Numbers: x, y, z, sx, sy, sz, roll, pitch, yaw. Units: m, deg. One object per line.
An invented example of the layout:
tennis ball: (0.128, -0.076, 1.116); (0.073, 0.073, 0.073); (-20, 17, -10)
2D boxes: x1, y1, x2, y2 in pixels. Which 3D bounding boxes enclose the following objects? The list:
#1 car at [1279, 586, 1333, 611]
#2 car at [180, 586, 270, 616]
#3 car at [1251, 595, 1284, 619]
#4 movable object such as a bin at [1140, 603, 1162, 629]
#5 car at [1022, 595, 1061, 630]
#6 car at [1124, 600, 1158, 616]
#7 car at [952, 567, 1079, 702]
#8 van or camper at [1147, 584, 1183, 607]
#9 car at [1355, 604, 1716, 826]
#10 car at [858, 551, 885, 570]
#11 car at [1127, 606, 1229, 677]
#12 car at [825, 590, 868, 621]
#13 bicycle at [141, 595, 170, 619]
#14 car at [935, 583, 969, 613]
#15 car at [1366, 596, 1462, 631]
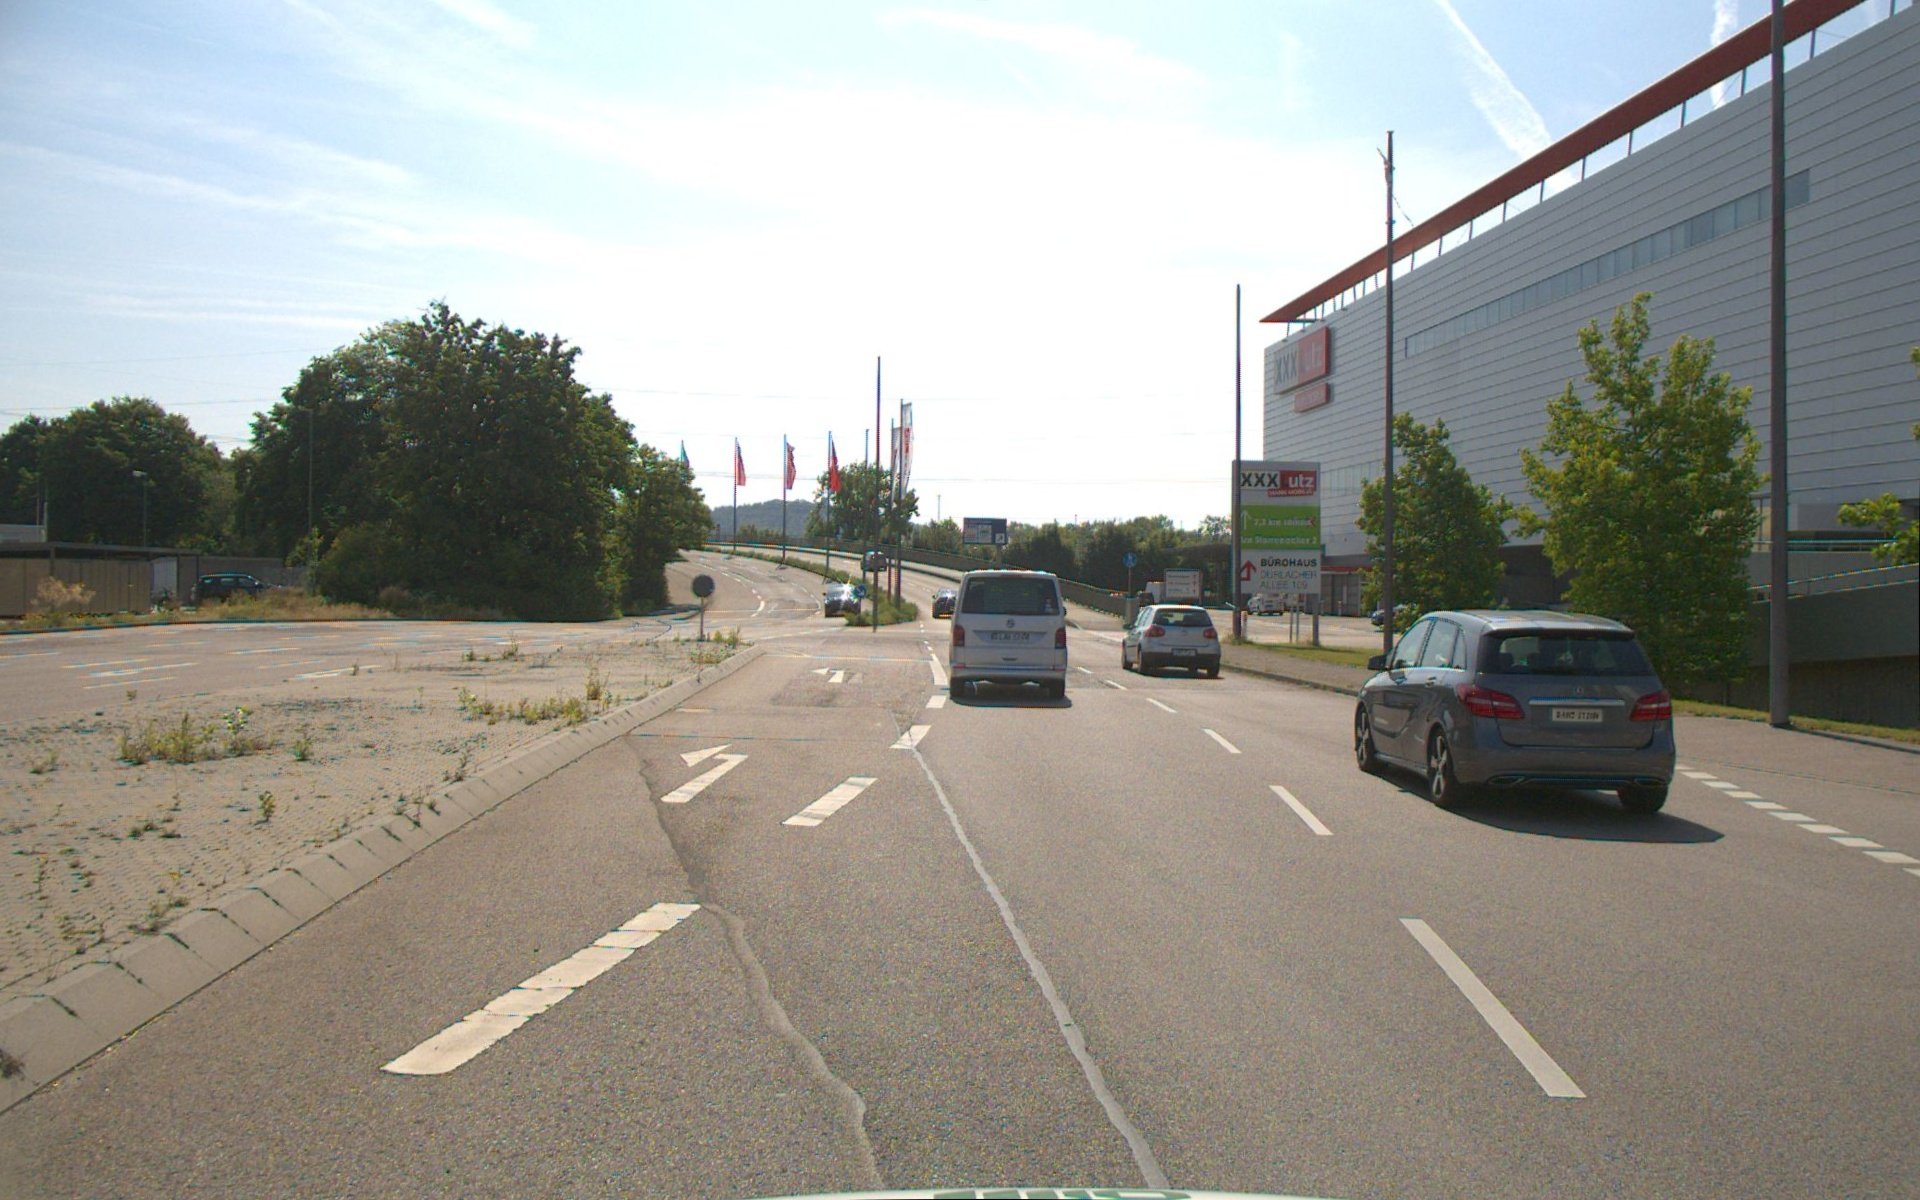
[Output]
car: (29.274, -0.126, 139.879); (4.104, 1.962, 1.775); (1, 1, -4)
car: (-36.917, 0.054, 83.085); (4.048, 1.445, 1.714); (1, -1, -26)
car: (24.009, 0.531, 129.262); (1.639, 1.782, 4.092); (1, 1, -2)
movable object such as a bin: (8.437, 0.698, 73.268); (0.793, 1.133, 1.181); (1, 0, -2)
car: (3.723, 0.560, 76.187); (1.500, 1.505, 3.595); (2, 1, -1)
car: (18.058, 0.822, 165.241); (1.960, 1.445, 3.984); (3, -1, -15)
car: (0.824, 0.511, 27.013); (1.878, 2.010, 4.296); (1, 0, -1)
van or camper: (22.130, -0.494, 177.964); (2.058, 2.216, 5.431); (2, -1, 27)
car: (4.715, 0.846, 14.199); (1.737, 1.566, 4.138); (1, 0, 2)
car: (-7.606, -3.386, 142.474); (1.507, 1.505, 3.408); (2, 0, -18)
car: (4.714, 0.906, 36.223); (1.633, 1.439, 3.680); (1, -2, -2)
car: (-6.164, 0.284, 90.043); (1.876, 1.634, 4.273); (1, 0, 2)
bicycle: (-37.525, 0.323, 77.141); (0.575, 1.110, 1.707); (0, 0, -3)
car: (-0.430, -0.122, 87.267); (1.501, 1.505, 3.244); (2, 0, -5)
car: (23.072, 0.672, 84.083); (4.338, 1.642, 1.835); (-1, 1, -7)
